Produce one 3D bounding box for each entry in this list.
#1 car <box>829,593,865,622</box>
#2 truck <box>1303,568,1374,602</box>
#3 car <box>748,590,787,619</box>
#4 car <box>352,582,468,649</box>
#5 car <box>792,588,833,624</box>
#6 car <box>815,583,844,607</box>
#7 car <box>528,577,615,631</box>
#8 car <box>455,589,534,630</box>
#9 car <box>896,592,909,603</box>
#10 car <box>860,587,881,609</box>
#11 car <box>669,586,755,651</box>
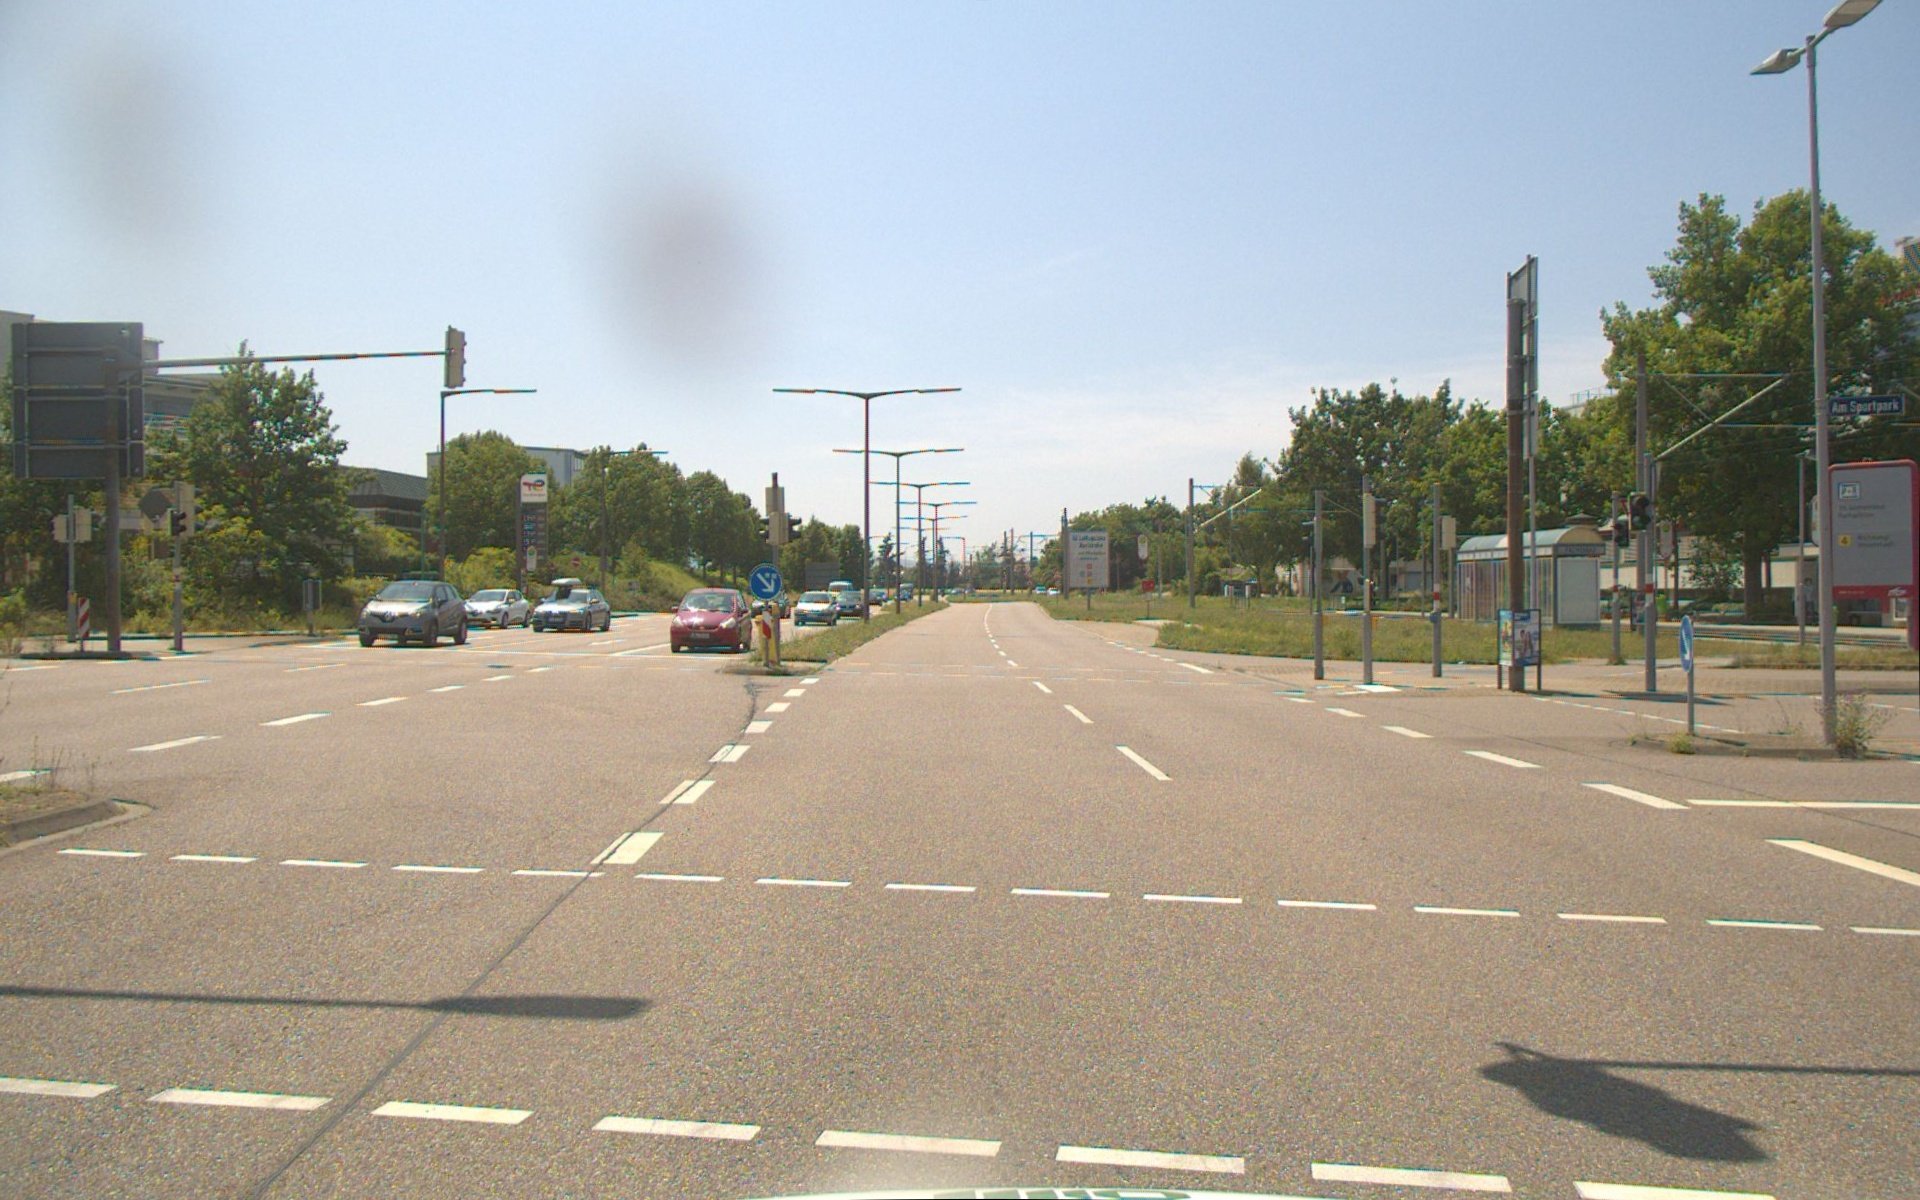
[{"bbox_3d":[-5.895,0.349,86.562,1.642,1.459,4.190,0,0,-1],"label":"car"},{"bbox_3d":[33.916,-1.341,148.175,5.730,2.893,2.316,-2,0,-8],"label":"truck"},{"bbox_3d":[-10.036,0.214,86.328,1.604,1.454,4.051,0,0,0],"label":"car"},{"bbox_3d":[-13.581,0.348,41.045,1.625,1.566,3.999,0,0,-2],"label":"car"},{"bbox_3d":[-6.317,0.242,71.041,1.529,1.448,3.853,0,1,-2],"label":"car"},{"bbox_3d":[-12.559,-0.483,159.544,2.203,2.313,5.449,1,0,1],"label":"car"},{"bbox_3d":[-13.269,0.113,56.827,1.925,1.780,5.020,0,0,-2],"label":"car"},{"bbox_3d":[-17.276,0.356,61.562,1.785,1.475,3.828,0,0,1],"label":"car"},{"bbox_3d":[-7.878,-0.369,226.290,1.695,1.483,4.563,0,0,-1],"label":"car"},{"bbox_3d":[-8.569,-0.139,157.902,1.954,2.049,3.997,1,0,-4],"label":"car"},{"bbox_3d":[-6.099,0.421,40.948,1.625,1.516,3.999,0,0,-2],"label":"car"}]
